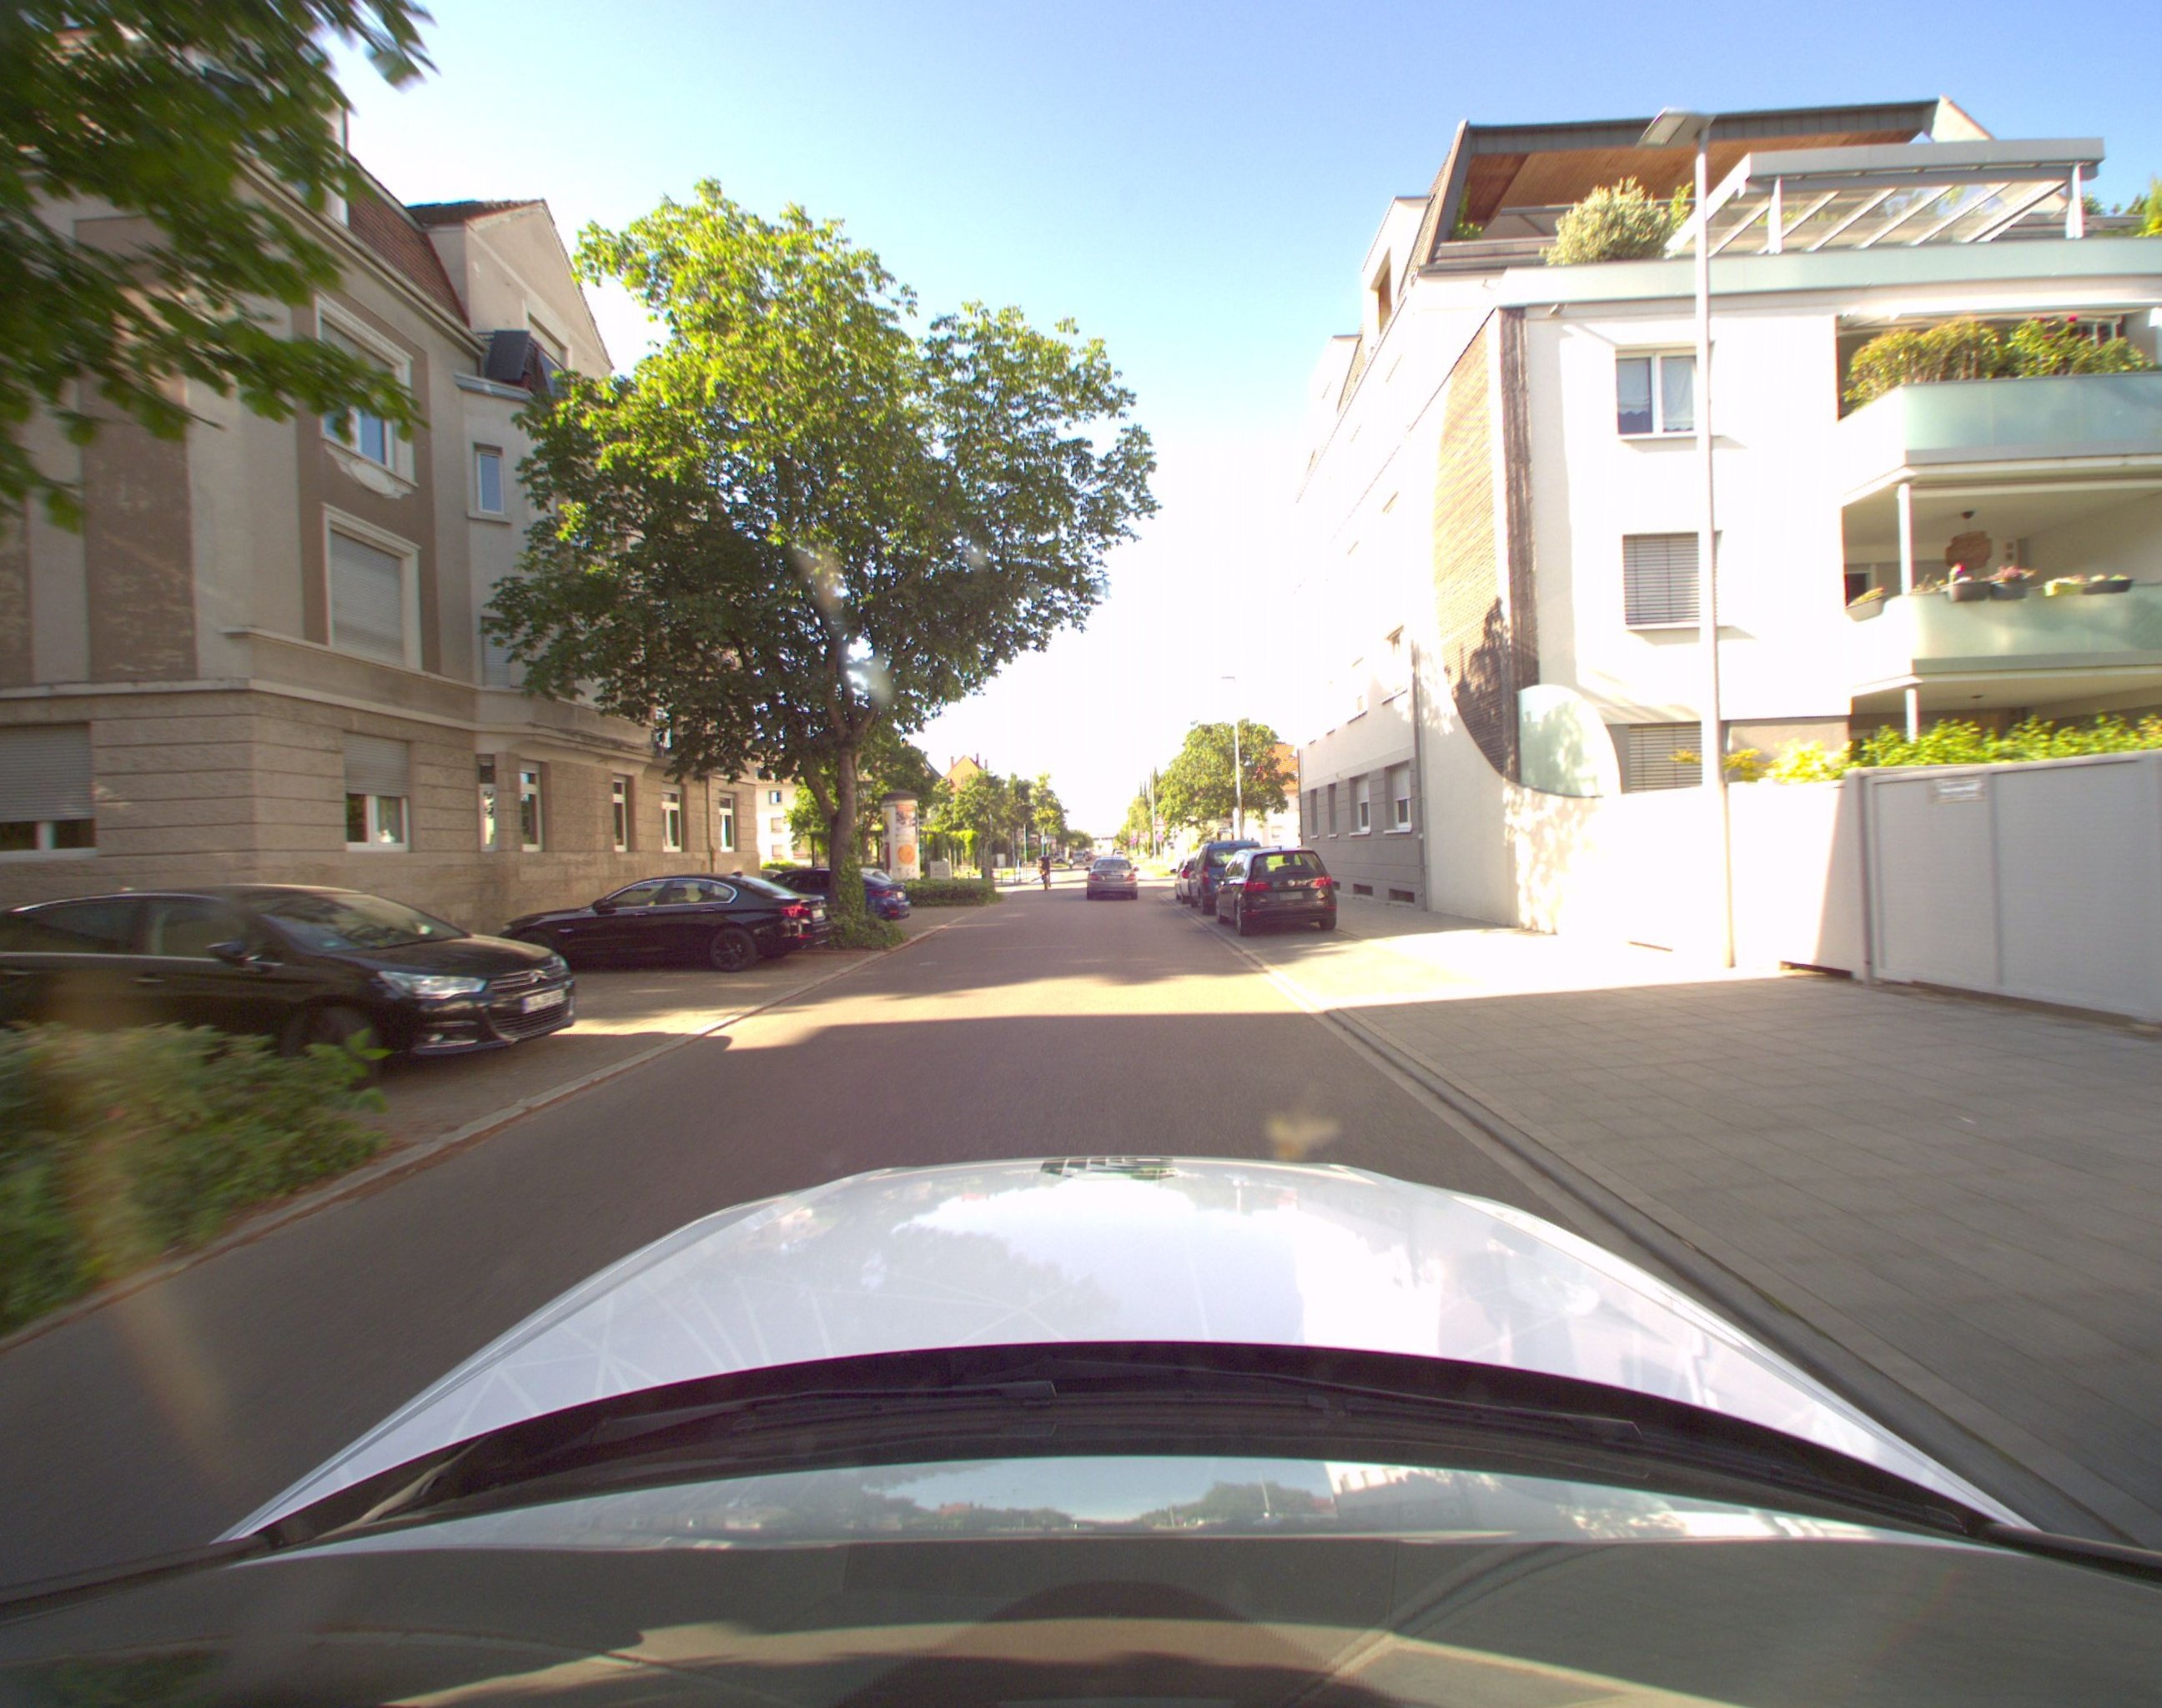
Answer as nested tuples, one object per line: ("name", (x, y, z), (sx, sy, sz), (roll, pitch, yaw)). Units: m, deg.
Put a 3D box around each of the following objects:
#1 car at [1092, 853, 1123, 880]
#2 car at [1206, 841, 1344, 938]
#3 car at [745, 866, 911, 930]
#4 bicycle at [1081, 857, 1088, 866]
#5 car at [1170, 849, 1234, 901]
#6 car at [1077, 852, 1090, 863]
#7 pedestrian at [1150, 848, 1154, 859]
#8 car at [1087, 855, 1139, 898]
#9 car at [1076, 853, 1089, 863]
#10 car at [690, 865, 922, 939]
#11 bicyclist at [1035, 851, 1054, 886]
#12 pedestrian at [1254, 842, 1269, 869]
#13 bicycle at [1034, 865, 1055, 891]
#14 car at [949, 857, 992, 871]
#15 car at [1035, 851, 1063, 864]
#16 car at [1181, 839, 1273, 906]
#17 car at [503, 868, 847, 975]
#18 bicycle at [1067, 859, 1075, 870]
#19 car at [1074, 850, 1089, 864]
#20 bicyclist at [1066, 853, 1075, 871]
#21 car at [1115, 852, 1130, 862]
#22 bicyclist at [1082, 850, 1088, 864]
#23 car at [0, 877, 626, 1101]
("car", (1.534, 0.726, 47.334), (1.701, 1.448, 4.203), (0, -1, 1))
("car", (3.647, 0.604, 16.056), (1.730, 1.531, 4.180), (-5, 0, 2))
("car", (-6.294, 1.069, 20.521), (3.567, 1.430, 1.731), (-1, 0, 1))
("bicycle", (0.414, 0.764, 88.036), (0.586, 0.931, 1.852), (-2, 0, 3))
("car", (3.819, 0.657, 26.211), (1.558, 1.410, 3.732), (-6, -1, 3))
("car", (0.386, 0.525, 126.973), (1.783, 1.532, 3.996), (-1, 0, -3))
("pedestrian", (10.159, -0.111, 116.398), (0.507, 1.559, 0.644), (0, -1, 3))
("car", (1.148, 0.781, 29.013), (1.719, 1.420, 3.963), (0, -1, 3))
("car", (0.211, 0.576, 132.206), (1.783, 1.532, 3.996), (-1, 0, -3))
("car", (-5.965, 1.018, 18.062), (4.460, 1.479, 1.868), (-1, -1, -1))
("bicyclist", (-1.657, 0.640, 37.095), (0.718, 1.537, 1.137), (-3, 0, 2))
("pedestrian", (10.902, 0.104, 49.156), (0.640, 1.623, 0.621), (-3, 0, 40))
("bicycle", (-1.635, 1.062, 36.949), (0.716, 1.079, 1.892), (-3, 0, 2))
("car", (-11.057, 1.009, 81.607), (3.976, 1.376, 1.999), (0, -1, -2))
("car", (-4.059, 0.449, 103.356), (3.488, 1.533, 1.642), (-1, 0, -5))
("car", (3.741, 0.486, 21.569), (1.676, 1.435, 4.267), (-6, -1, 2))
("car", (-6.210, 1.005, 12.872), (4.460, 1.479, 1.868), (-1, -1, -1))
("bicycle", (-0.854, 0.909, 71.719), (0.586, 0.931, 1.852), (-2, 0, 3))
("car", (0.044, 0.417, 108.593), (1.868, 1.728, 3.996), (-2, 0, -3))
("bicyclist", (-0.889, 0.682, 71.760), (0.677, 1.509, 0.655), (-2, 0, 3))
("car", (5.603, 0.408, 110.877), (1.718, 1.330, 3.996), (-1, 0, -3))
("bicyclist", (0.415, 0.360, 88.043), (0.569, 1.509, 0.655), (-2, 0, 3))
("car", (-6.414, 0.958, 6.697), (4.166, 1.500, 1.996), (0, -1, -6))
